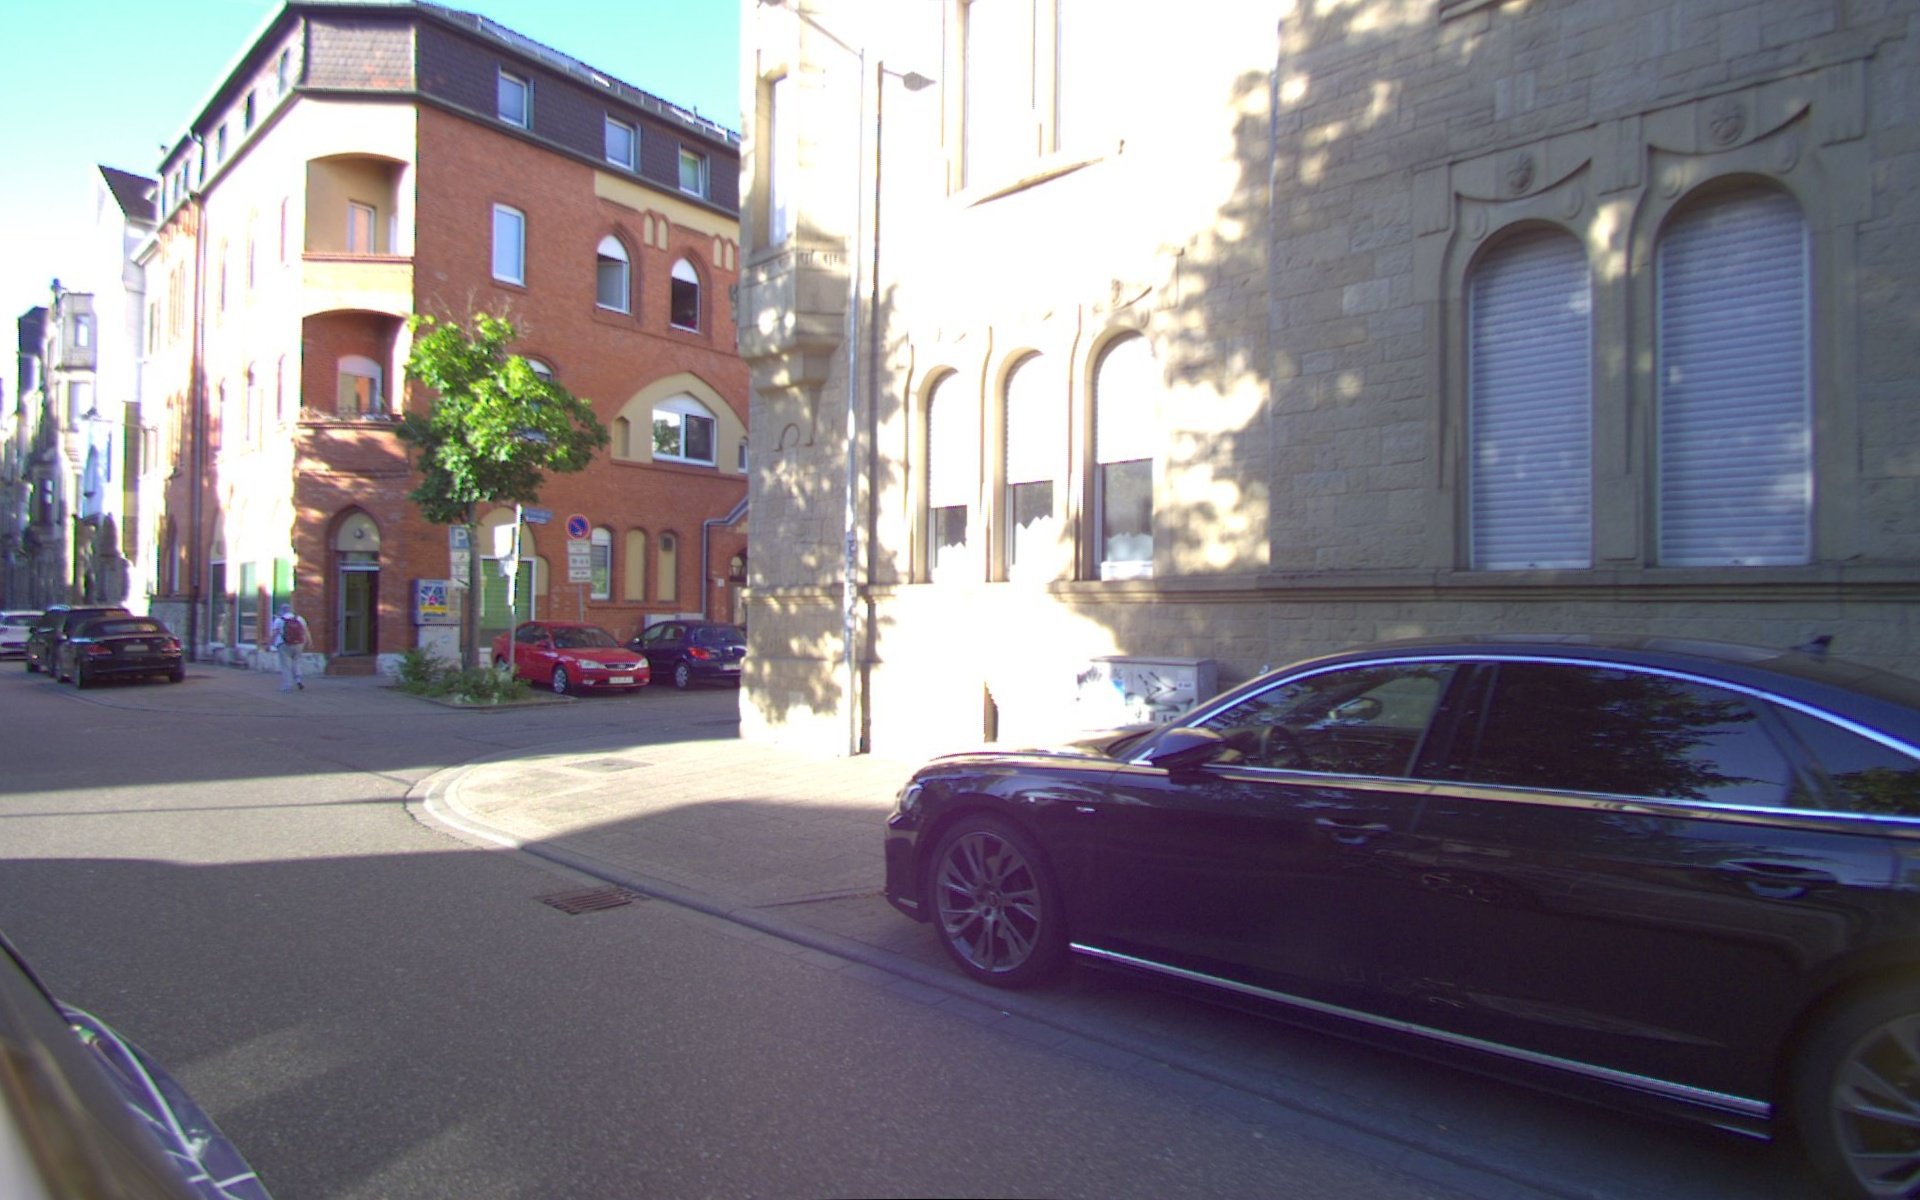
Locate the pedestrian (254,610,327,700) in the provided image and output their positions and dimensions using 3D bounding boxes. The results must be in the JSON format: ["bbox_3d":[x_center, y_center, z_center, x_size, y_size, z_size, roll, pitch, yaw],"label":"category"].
[{"bbox_3d":[-12.628,1.010,19.082,1.053,1.589,0.878,3,1,41],"label":"pedestrian"}]

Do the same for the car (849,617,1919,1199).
[{"bbox_3d":[1.925,0.820,3.698,4.895,1.437,1.792,0,1,41],"label":"car"}]

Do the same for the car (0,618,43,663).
[{"bbox_3d":[-32.763,1.368,34.525,4.108,1.454,1.659,-1,-1,40],"label":"car"}]

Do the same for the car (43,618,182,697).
[{"bbox_3d":[-17.866,1.131,21.265,4.331,1.421,1.618,0,1,42],"label":"car"}]

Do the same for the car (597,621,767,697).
[{"bbox_3d":[-6.394,1.290,23.082,4.211,1.562,1.695,-1,-3,41],"label":"car"}]

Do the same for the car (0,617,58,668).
[{"bbox_3d":[-29.203,1.289,31.372,3.591,1.481,1.549,-1,-1,43],"label":"car"}]

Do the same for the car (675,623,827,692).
[{"bbox_3d":[-5.242,1.366,25.147,3.914,1.523,1.695,0,-2,41],"label":"car"}]

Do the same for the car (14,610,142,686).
[{"bbox_3d":[-21.587,1.100,24.716,4.346,1.693,1.652,0,-1,40],"label":"car"}]

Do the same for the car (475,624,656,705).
[{"bbox_3d":[-8.418,1.273,21.364,4.656,1.480,1.618,0,-1,42],"label":"car"}]
